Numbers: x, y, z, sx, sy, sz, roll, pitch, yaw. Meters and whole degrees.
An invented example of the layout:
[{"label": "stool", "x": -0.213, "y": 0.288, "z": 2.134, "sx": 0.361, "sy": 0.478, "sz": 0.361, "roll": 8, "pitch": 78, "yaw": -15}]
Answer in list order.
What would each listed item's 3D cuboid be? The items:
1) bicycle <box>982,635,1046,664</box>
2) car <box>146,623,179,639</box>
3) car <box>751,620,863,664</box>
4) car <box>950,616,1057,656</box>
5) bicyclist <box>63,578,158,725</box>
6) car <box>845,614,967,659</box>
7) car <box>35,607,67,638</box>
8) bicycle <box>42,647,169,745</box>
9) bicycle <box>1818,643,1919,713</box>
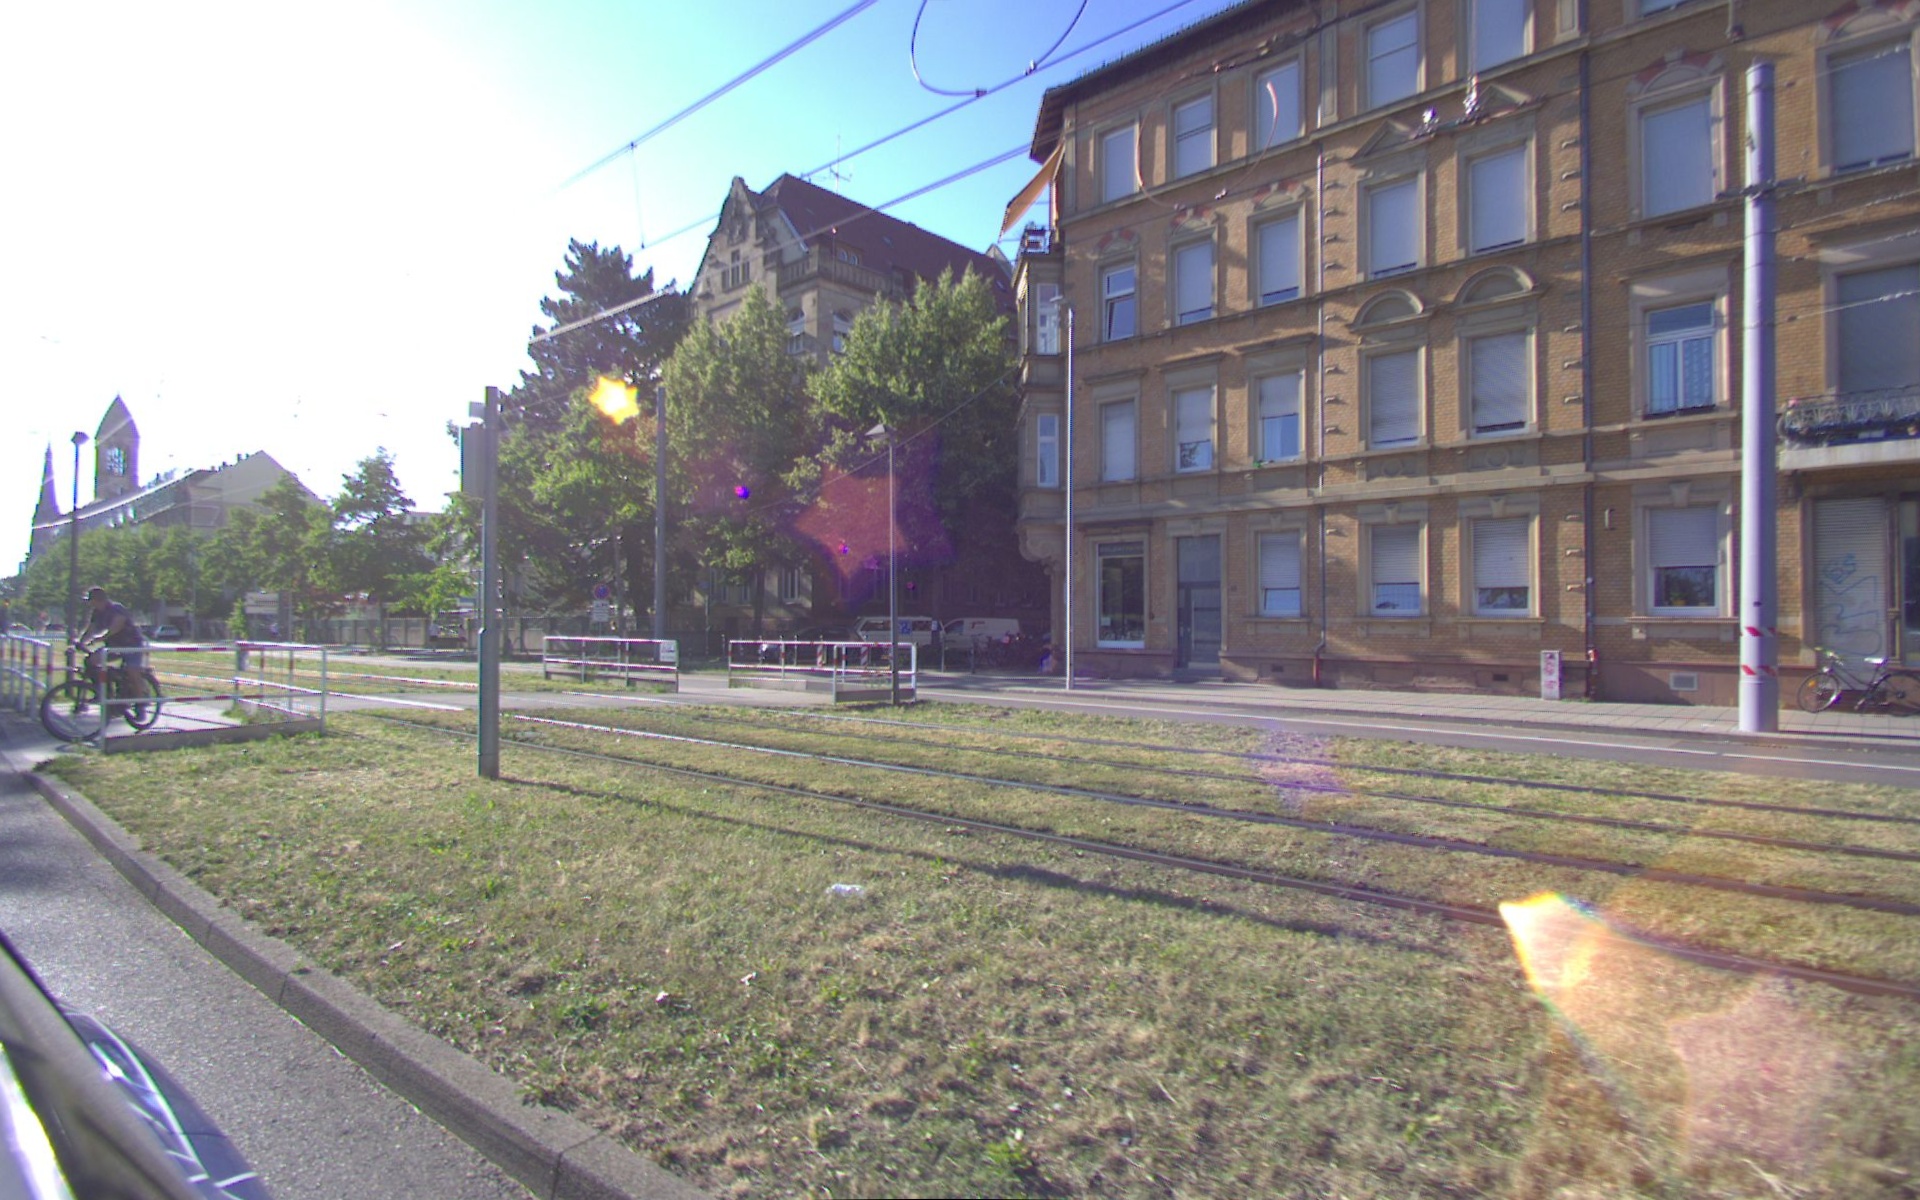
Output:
[{"label": "bicycle", "x": 1.852, "y": 1.685, "z": 34.521, "sx": 2.068, "sy": 0.916, "sz": 0.707, "roll": -1, "pitch": 0, "yaw": 21}, {"label": "car", "x": -77.218, "y": 3.020, "z": 98.003, "sx": 3.998, "sy": 1.522, "sz": 1.775, "roll": -1, "pitch": -3, "yaw": 42}, {"label": "car", "x": -5.937, "y": 1.603, "z": 39.385, "sx": 3.931, "sy": 1.521, "sz": 1.806, "roll": -1, "pitch": 0, "yaw": -26}, {"label": "car", "x": 2.146, "y": 1.698, "z": 48.749, "sx": 5.011, "sy": 1.838, "sz": 2.018, "roll": 0, "pitch": 0, "yaw": 8}, {"label": "bicyclist", "x": -10.404, "y": 0.609, "z": 12.423, "sx": 0.709, "sy": 1.726, "sz": 0.748, "roll": -1, "pitch": 0, "yaw": -26}, {"label": "car", "x": -2.381, "y": 1.554, "z": 44.547, "sx": 4.983, "sy": 1.838, "sz": 2.029, "roll": 0, "pitch": 0, "yaw": -22}, {"label": "car", "x": -82.468, "y": 2.041, "z": 91.781, "sx": 4.000, "sy": 2.803, "sz": 1.775, "roll": -1, "pitch": -2, "yaw": 43}, {"label": "bicycle", "x": -10.364, "y": 1.120, "z": 12.352, "sx": 0.709, "sy": 0.986, "sz": 2.069, "roll": -1, "pitch": 0, "yaw": -27}, {"label": "bicycle", "x": 14.769, "y": 1.225, "z": 15.865, "sx": 2.010, "sy": 1.011, "sz": 0.584, "roll": 0, "pitch": 0, "yaw": 41}]
